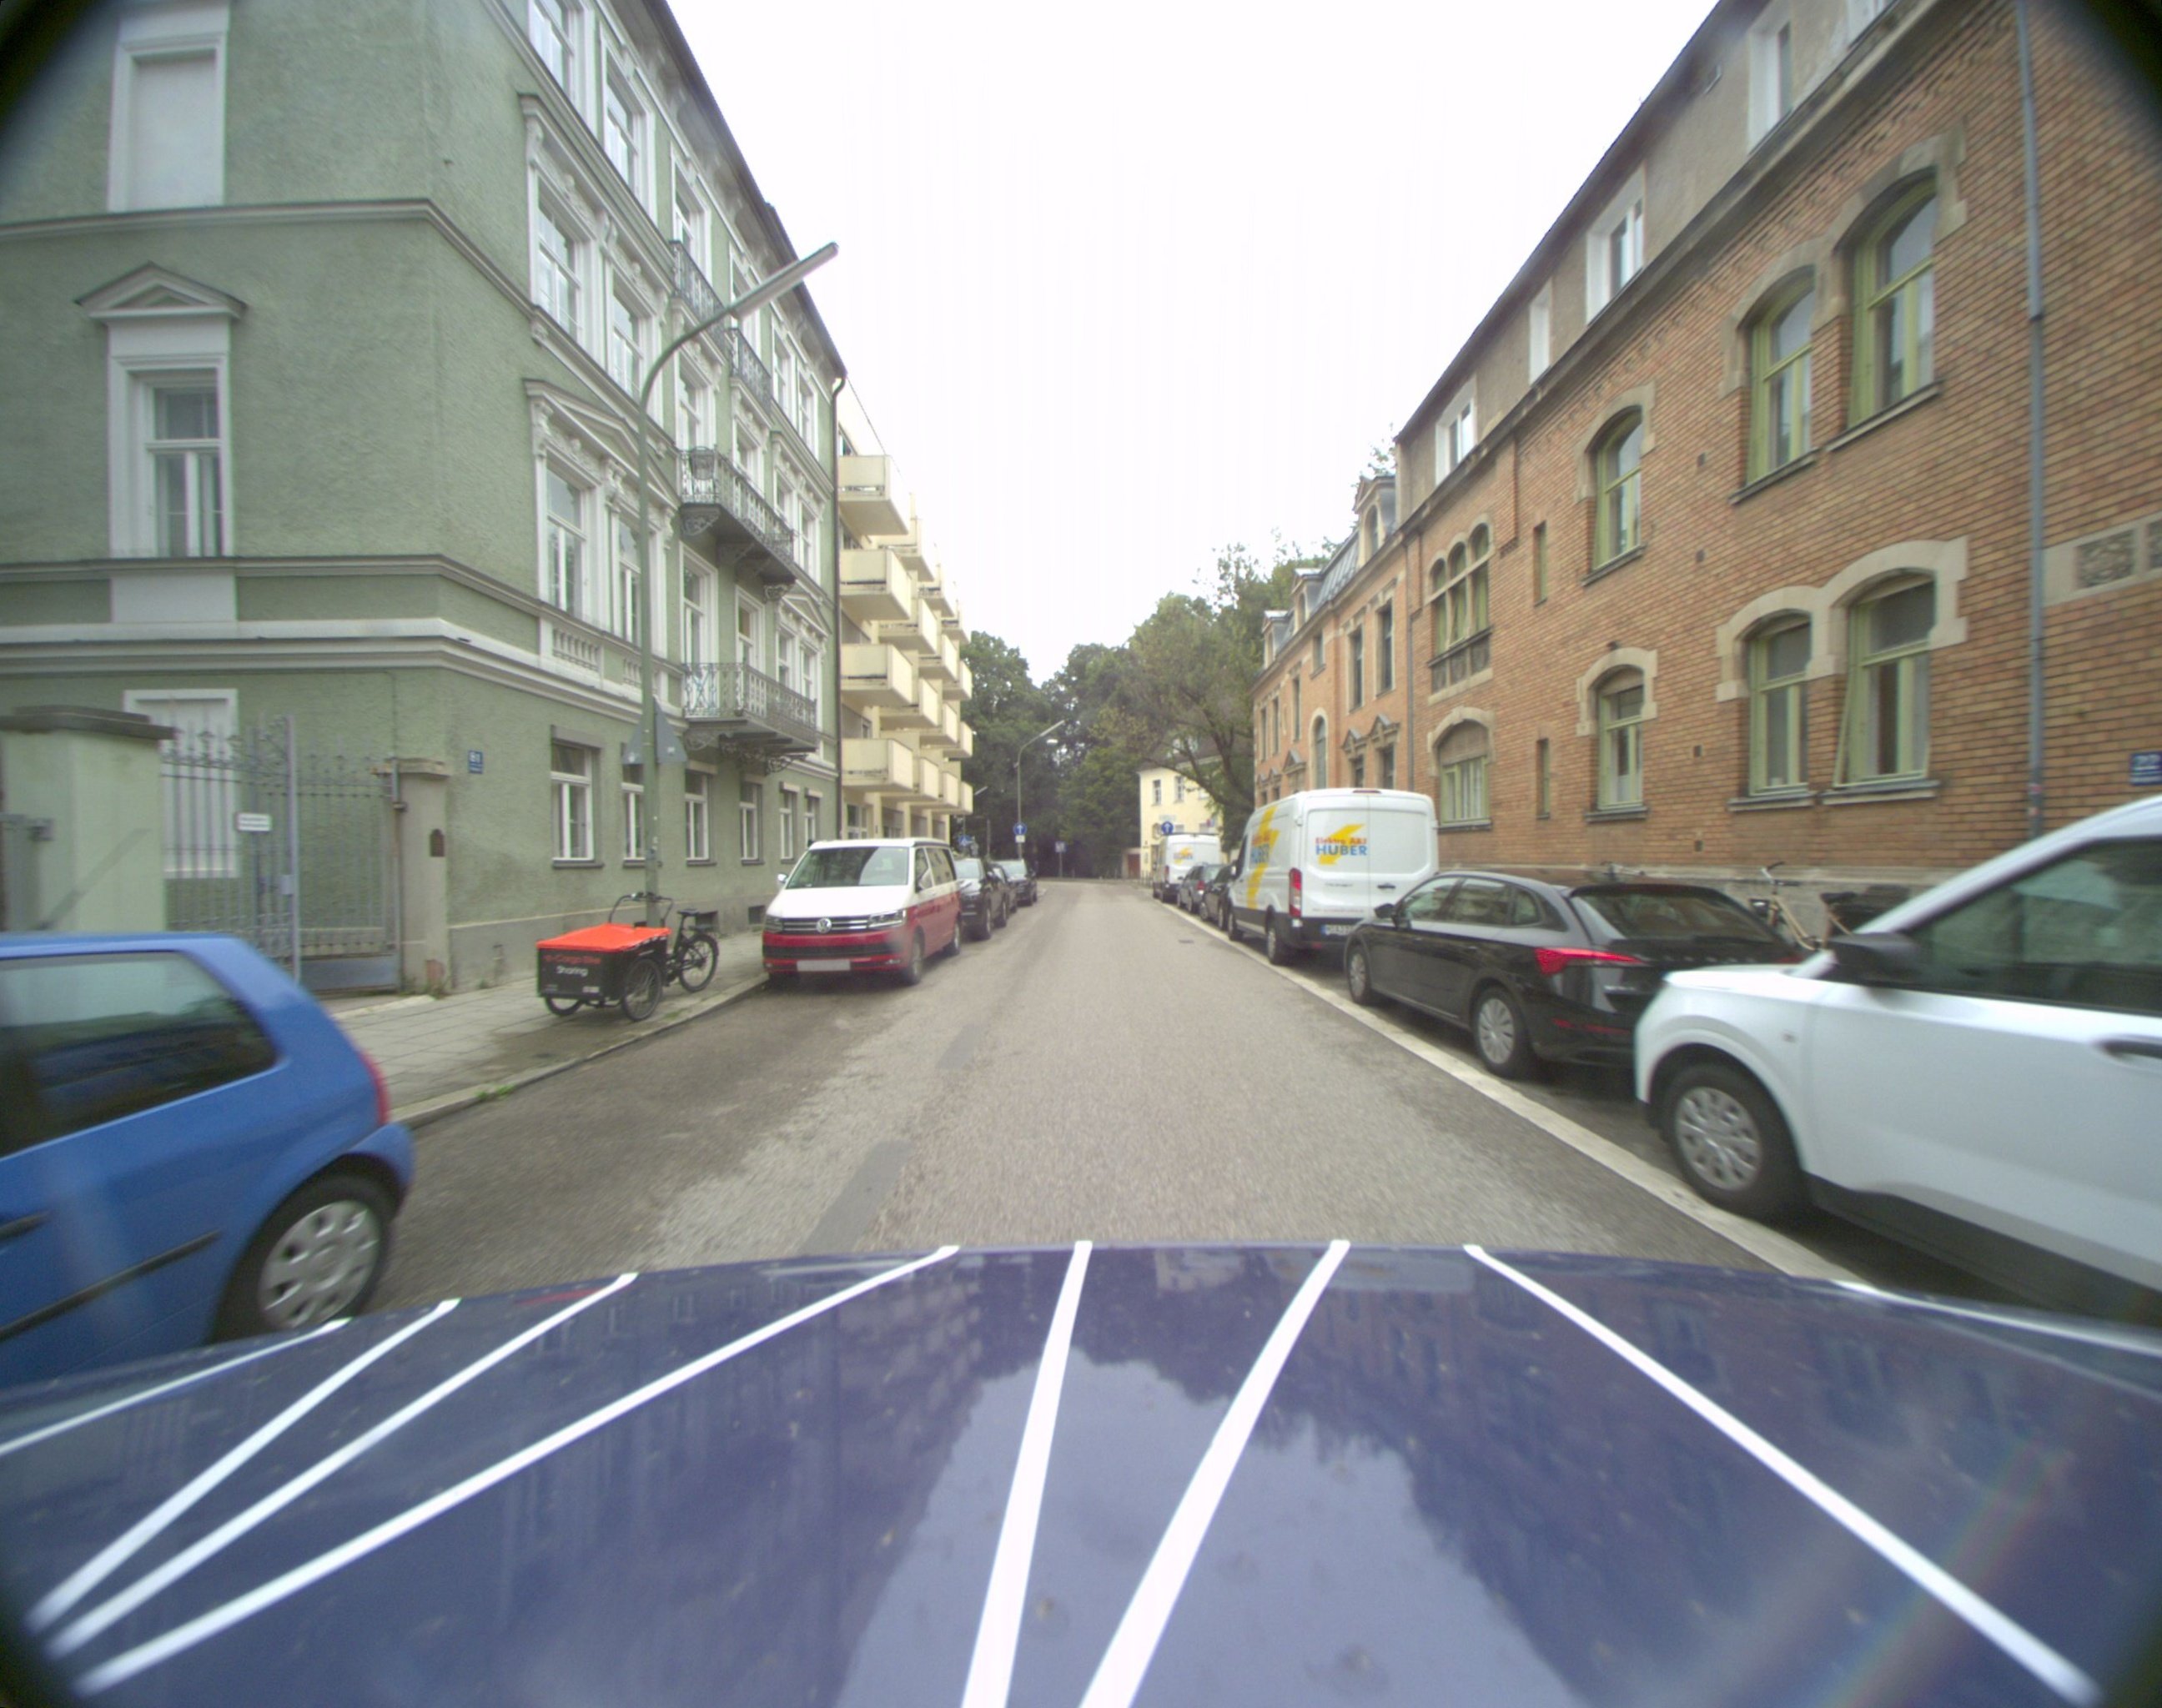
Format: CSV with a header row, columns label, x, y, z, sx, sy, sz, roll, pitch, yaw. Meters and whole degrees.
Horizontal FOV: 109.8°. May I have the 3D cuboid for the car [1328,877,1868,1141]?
label,x,y,z,sx,sy,sz,roll,pitch,yaw
car,3.633,0.949,6.423,1.719,1.412,4.166,0,0,0

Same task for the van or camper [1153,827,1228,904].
label,x,y,z,sx,sy,sz,roll,pitch,yaw
van or camper,3.999,0.419,28.624,2.116,2.646,4.958,0,0,0

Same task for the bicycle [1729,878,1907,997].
label,x,y,z,sx,sy,sz,roll,pitch,yaw
bicycle,7.786,0.833,8.114,0.435,1.078,1.471,-3,1,0

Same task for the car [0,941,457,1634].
label,x,y,z,sx,sy,sz,roll,pitch,yaw
car,-3.291,1.068,1.092,1.719,1.414,3.719,-2,0,-1

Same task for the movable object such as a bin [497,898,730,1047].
label,x,y,z,sx,sy,sz,roll,pitch,yaw
movable object such as a bin,-4.667,1.114,7.853,1.023,1.186,2.163,1,0,1

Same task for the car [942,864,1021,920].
label,x,y,z,sx,sy,sz,roll,pitch,yaw
car,-2.827,1.041,22.351,1.753,1.458,4.336,0,0,0

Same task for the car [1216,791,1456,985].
label,x,y,z,sx,sy,sz,roll,pitch,yaw
car,3.705,0.455,12.265,2.117,2.461,5.231,0,0,0

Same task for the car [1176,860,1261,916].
label,x,y,z,sx,sy,sz,roll,pitch,yaw
car,3.979,0.936,22.617,1.769,1.491,4.080,0,0,0

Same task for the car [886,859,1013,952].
label,x,y,z,sx,sy,sz,roll,pitch,yaw
car,-2.710,0.997,16.797,1.860,1.700,4.698,-2,0,1

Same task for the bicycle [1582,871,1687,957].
label,x,y,z,sx,sy,sz,roll,pitch,yaw
bicycle,7.851,0.817,10.843,0.394,1.078,1.471,-3,1,0

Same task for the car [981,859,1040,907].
label,x,y,z,sx,sy,sz,roll,pitch,yaw
car,-2.536,1.016,28.274,1.771,1.607,4.263,-1,0,0

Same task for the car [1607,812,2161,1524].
label,x,y,z,sx,sy,sz,roll,pitch,yaw
car,3.514,0.772,1.703,1.719,1.745,4.250,0,0,0

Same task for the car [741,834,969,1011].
label,x,y,z,sx,sy,sz,roll,pitch,yaw
car,-3.000,0.826,11.287,1.858,2.019,4.783,-2,0,1

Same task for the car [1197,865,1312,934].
label,x,y,z,sx,sy,sz,roll,pitch,yaw
car,3.868,0.963,17.553,1.769,1.407,3.793,0,0,0
